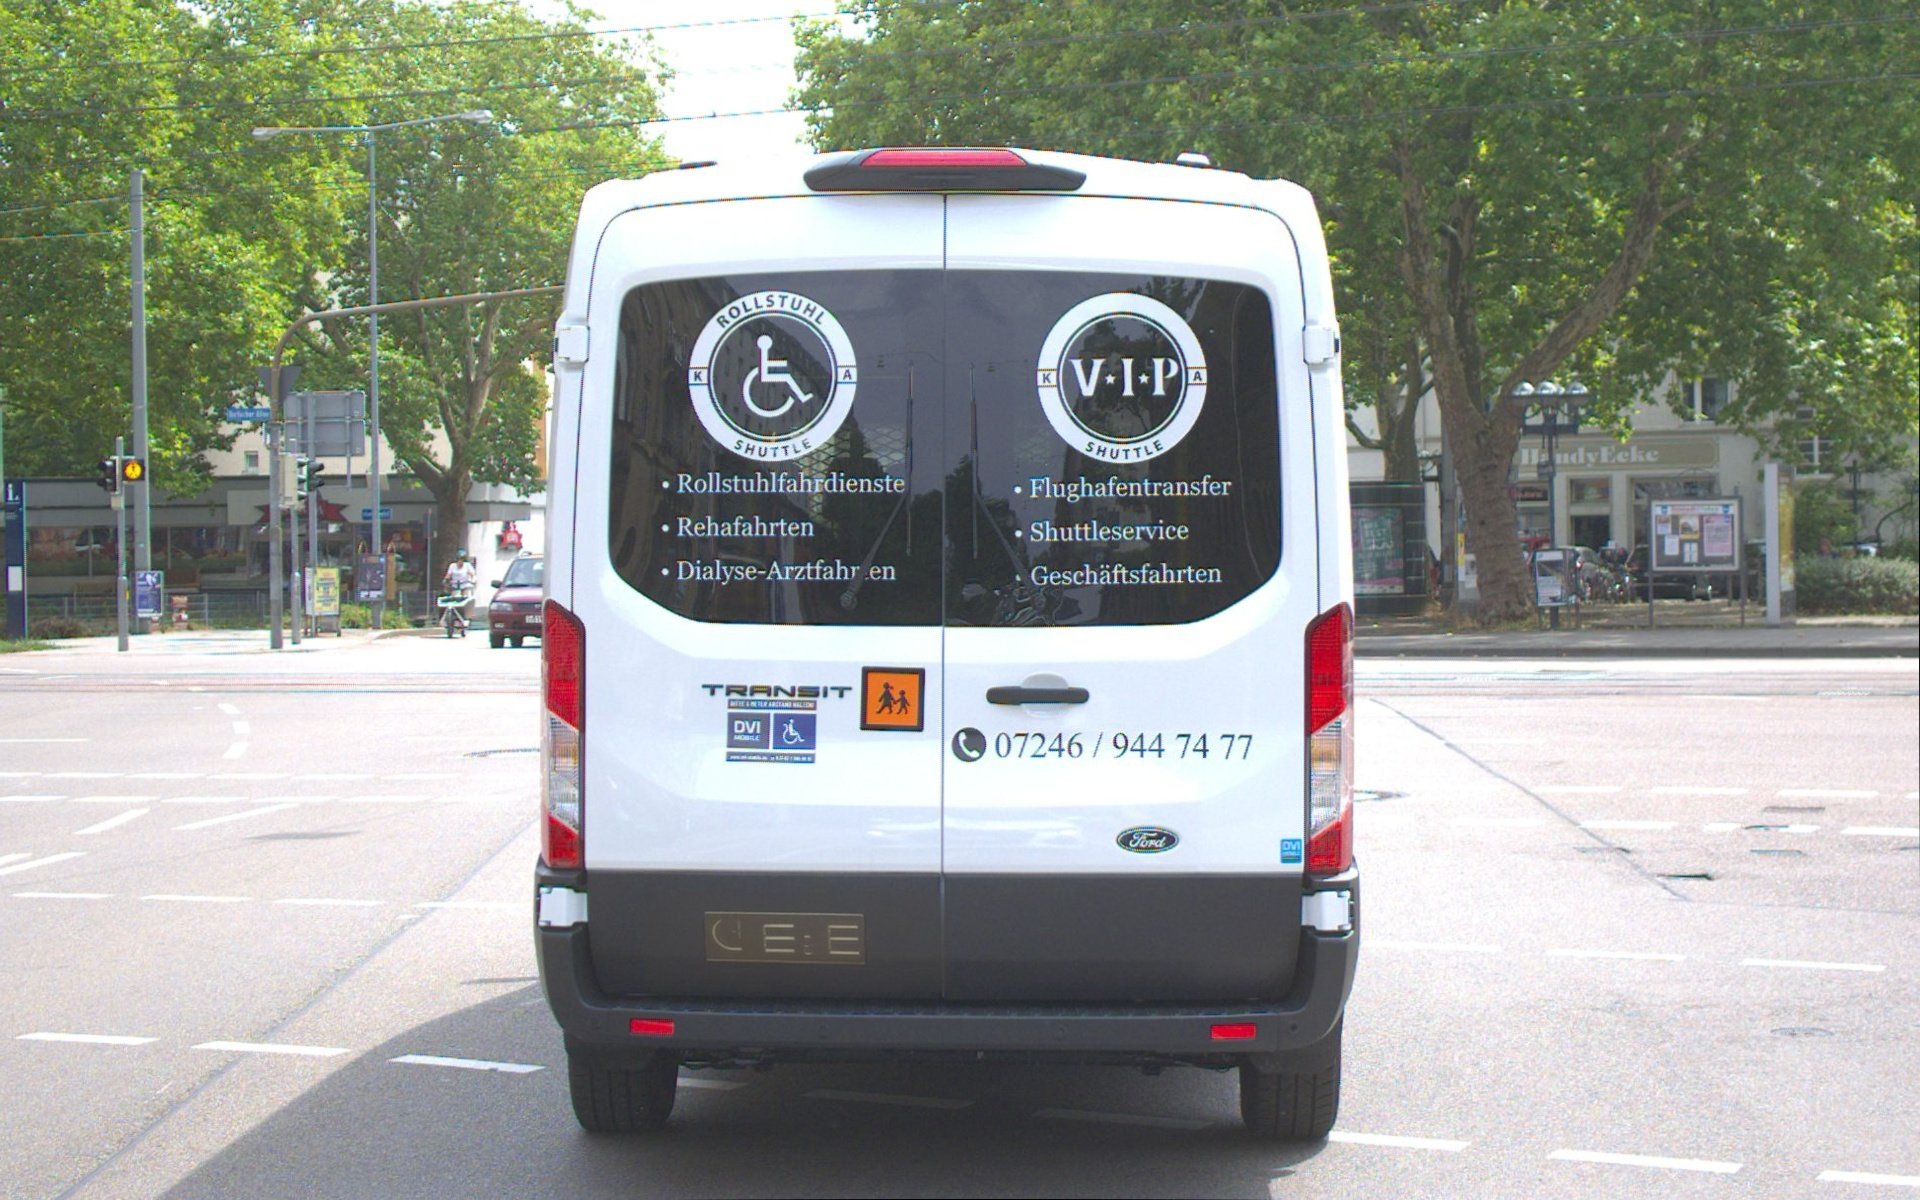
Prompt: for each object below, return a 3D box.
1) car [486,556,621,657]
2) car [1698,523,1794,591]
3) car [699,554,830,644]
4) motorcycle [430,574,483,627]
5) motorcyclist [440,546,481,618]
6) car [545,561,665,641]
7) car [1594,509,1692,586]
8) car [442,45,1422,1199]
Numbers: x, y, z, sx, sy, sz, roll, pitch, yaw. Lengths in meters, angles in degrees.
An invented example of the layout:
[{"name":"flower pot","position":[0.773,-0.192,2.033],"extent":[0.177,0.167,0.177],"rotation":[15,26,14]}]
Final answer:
[{"name":"car","position":[-6.384,0.072,54.266],"extent":[1.592,1.502,3.807],"rotation":[-1,1,1]},{"name":"car","position":[20.038,-1.114,87.766],"extent":[1.805,1.678,4.000],"rotation":[-1,1,4]},{"name":"car","position":[-3.258,-0.045,57.999],"extent":[1.832,1.422,4.121],"rotation":[-1,1,2]},{"name":"motorcycle","position":[-9.810,0.003,67.065],"extent":[0.683,0.968,2.324],"rotation":[-1,1,0]},{"name":"motorcyclist","position":[-9.827,-0.361,67.661],"extent":[0.683,1.391,0.682],"rotation":[-1,1,0]},{"name":"car","position":[-6.751,-0.006,65.730],"extent":[1.743,1.422,4.032],"rotation":[-1,1,2]},{"name":"car","position":[17.552,-1.355,88.488],"extent":[1.994,1.924,4.000],"rotation":[-1,1,4]},{"name":"car","position":[-0.127,0.010,10.117],"extent":[2.181,2.638,4.629],"rotation":[-1,2,-2]}]
